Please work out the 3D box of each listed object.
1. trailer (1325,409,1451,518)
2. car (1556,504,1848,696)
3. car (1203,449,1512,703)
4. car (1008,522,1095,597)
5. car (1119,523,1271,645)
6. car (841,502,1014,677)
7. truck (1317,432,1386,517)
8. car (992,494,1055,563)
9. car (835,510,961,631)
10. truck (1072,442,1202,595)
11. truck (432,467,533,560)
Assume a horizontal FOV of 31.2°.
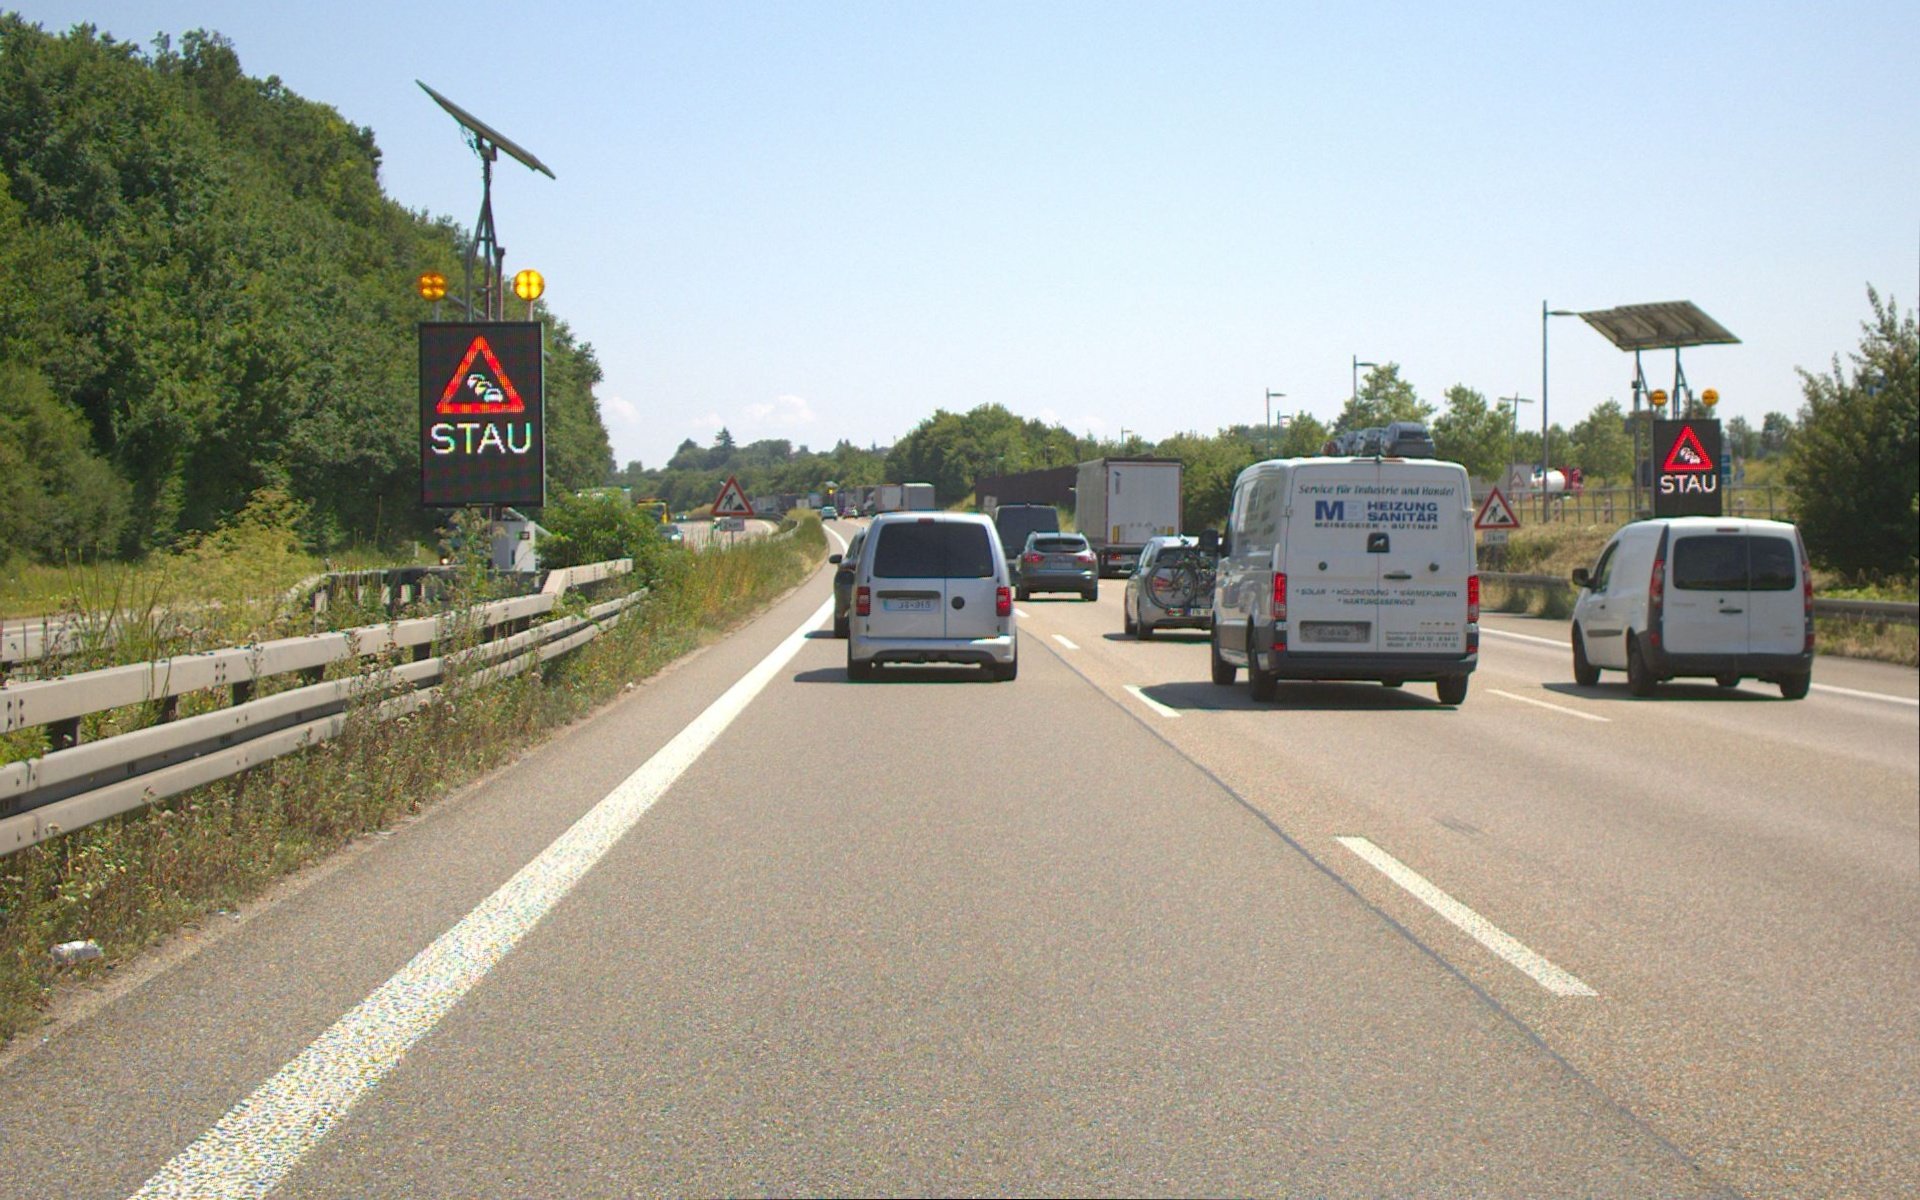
[{"bbox_3d":[18.429,-5.784,149.316,2.605,4.243,18.423,1,1,-2],"label":"trailer"},{"bbox_3d":[7.540,-0.030,35.341,1.950,1.831,4.179,-1,1,-2],"label":"car"},{"bbox_3d":[3.751,-0.255,33.462,2.181,2.246,5.364,1,1,-2],"label":"car"},{"bbox_3d":[2.089,-0.940,79.622,1.902,1.666,4.089,-1,1,0],"label":"car"},{"bbox_3d":[3.469,-0.269,51.465,1.976,1.727,4.089,-1,1,0],"label":"car"},{"bbox_3d":[-0.329,-0.137,37.131,1.745,1.758,4.089,-1,1,0],"label":"car"},{"bbox_3d":[18.169,-5.795,159.669,2.602,3.814,4.000,1,1,-2],"label":"truck"},{"bbox_3d":[1.780,-2.016,97.411,1.674,1.885,4.089,-1,1,0],"label":"car"},{"bbox_3d":[-0.891,-0.456,51.218,1.745,1.695,4.088,-1,1,1],"label":"car"},{"bbox_3d":[6.067,-2.800,120.114,3.788,4.982,12.519,1,1,0],"label":"truck"},{"bbox_3d":[-20.363,-3.661,147.224,2.996,3.789,10.790,-1,1,-1],"label":"truck"}]
